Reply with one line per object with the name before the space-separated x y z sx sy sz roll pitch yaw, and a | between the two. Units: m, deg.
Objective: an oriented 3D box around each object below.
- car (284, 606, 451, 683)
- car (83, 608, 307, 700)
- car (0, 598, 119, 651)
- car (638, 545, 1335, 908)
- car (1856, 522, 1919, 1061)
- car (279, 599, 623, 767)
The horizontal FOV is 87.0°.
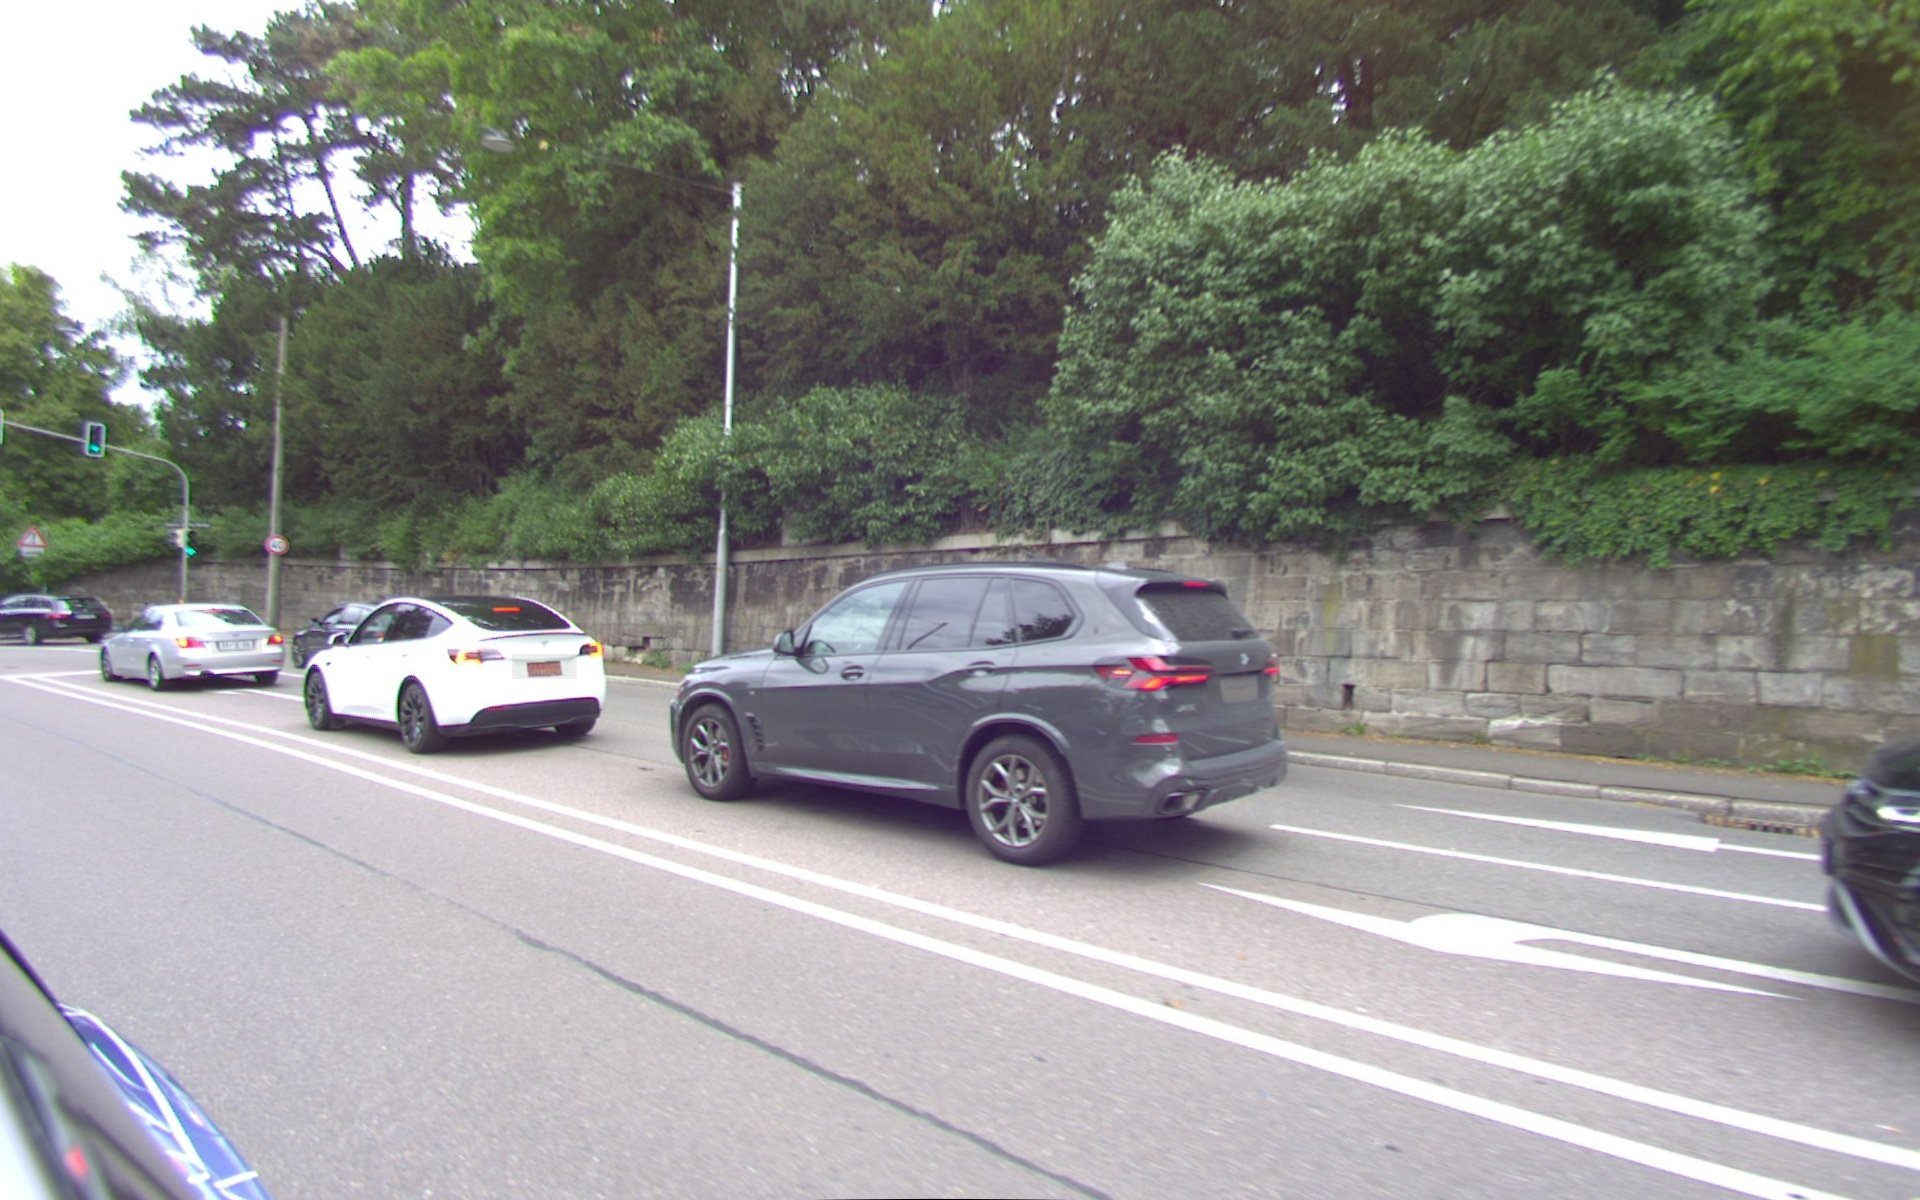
car | -12.405 0.872 21.105 3.952 1.445 1.616 -1 0 37
car | -14.212 0.921 18.704 4.868 1.481 1.976 -1 -2 36
car | -26.864 0.706 29.535 4.018 1.463 1.728 -1 0 19
car | -0.090 0.660 7.266 4.874 1.763 1.940 -1 -2 40
car | 5.289 0.596 2.405 4.619 1.664 1.829 -1 -2 40
car | -6.033 0.805 11.718 4.784 1.566 1.819 -1 -1 40
